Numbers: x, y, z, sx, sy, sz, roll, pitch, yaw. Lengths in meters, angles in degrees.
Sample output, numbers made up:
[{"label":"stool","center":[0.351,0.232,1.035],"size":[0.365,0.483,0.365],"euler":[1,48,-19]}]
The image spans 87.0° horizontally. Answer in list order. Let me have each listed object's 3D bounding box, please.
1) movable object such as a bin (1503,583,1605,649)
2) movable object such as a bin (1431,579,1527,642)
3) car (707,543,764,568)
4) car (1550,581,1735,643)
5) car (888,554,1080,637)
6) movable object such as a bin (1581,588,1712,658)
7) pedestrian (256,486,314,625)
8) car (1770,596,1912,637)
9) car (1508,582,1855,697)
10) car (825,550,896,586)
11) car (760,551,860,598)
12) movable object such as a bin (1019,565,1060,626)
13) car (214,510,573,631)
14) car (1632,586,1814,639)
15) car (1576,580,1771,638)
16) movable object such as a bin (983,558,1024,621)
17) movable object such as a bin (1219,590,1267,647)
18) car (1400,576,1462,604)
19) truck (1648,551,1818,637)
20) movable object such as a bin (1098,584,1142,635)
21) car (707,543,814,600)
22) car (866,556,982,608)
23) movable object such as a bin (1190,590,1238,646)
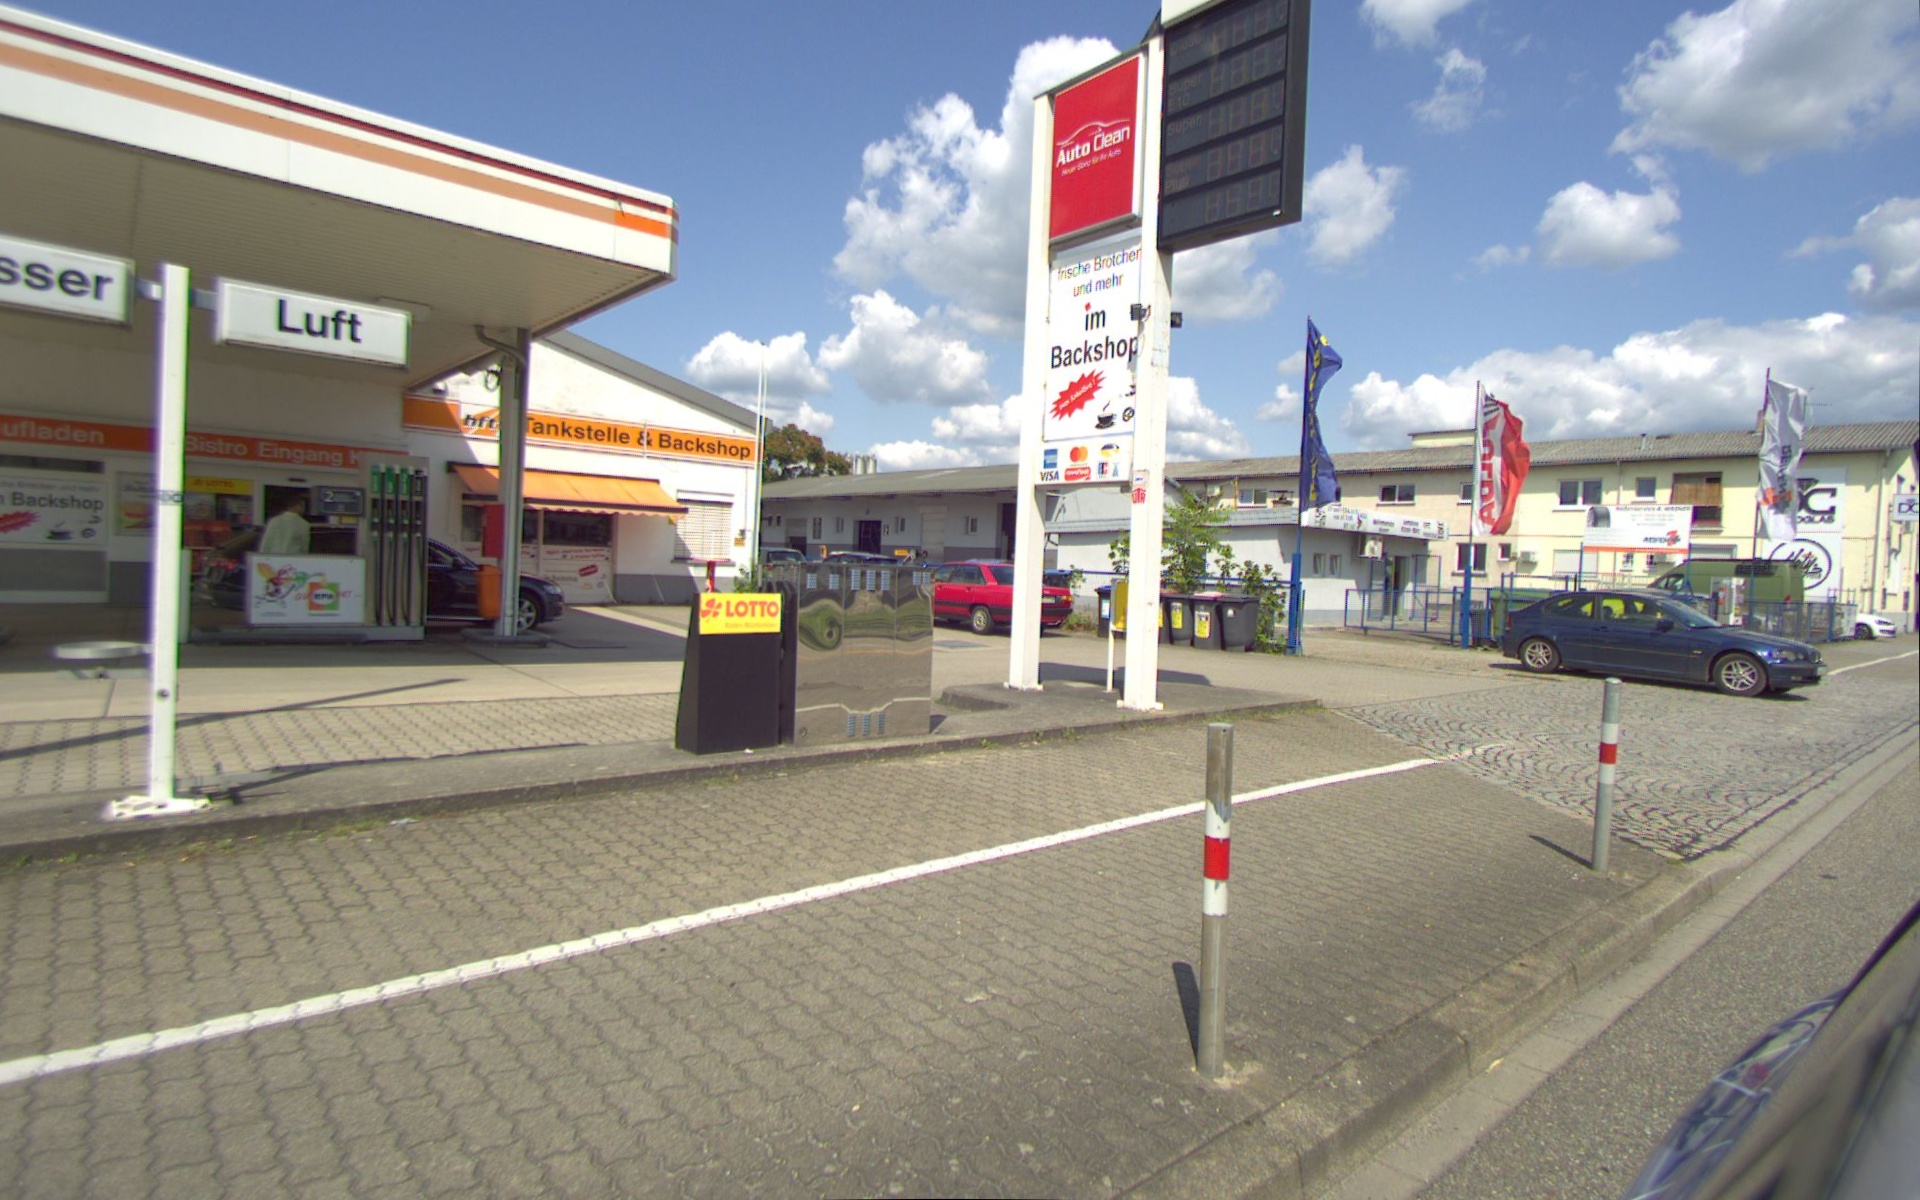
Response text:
[{"label":"movable object such as a bin","center":[13.502,0.330,23.007],"size":[1.735,1.427,1.534],"euler":[0,1,-42]},{"label":"movable object such as a bin","center":[12.402,0.214,24.186],"size":[1.735,1.427,1.534],"euler":[0,1,-42]},{"label":"car","center":[-13.819,-2.746,62.374],"size":[3.094,1.393,1.379],"euler":[1,1,-43]},{"label":"car","center":[18.467,0.271,27.577],"size":[1.592,1.480,3.918],"euler":[0,2,-24]},{"label":"car","center":[0.396,-0.165,21.244],"size":[1.740,1.441,4.146],"euler":[0,4,-39]},{"label":"movable object such as a bin","center":[14.646,0.448,21.617],"size":[1.679,1.364,1.966],"euler":[0,1,-41]},{"label":"pedestrian","center":[-8.784,-0.565,13.168],"size":[0.607,1.744,0.687],"euler":[0,1,-35]},{"label":"car","center":[32.417,0.567,37.302],"size":[1.490,1.374,3.728],"euler":[0,1,-37]},{"label":"car","center":[11.015,0.494,15.754],"size":[1.616,1.425,4.068],"euler":[0,3,-34]},{"label":"car","center":[-5.277,-1.706,53.966],"size":[3.537,1.763,1.538],"euler":[1,1,-43]},{"label":"car","center":[-4.899,-0.847,32.694],"size":[1.525,1.330,3.646],"euler":[0,4,-39]},{"label":"movable object such as a bin","center":[1.757,-0.097,22.247],"size":[0.694,1.313,0.581],"euler":[0,1,-42]},{"label":"car","center":[-8.359,-0.386,15.190],"size":[4.413,1.538,1.686],"euler":[2,2,-41]},{"label":"car","center":[24.059,0.334,32.059],"size":[1.792,1.526,4.266],"euler":[0,1,-33]},{"label":"car","center":[20.383,0.202,29.120],"size":[1.789,1.524,4.271],"euler":[0,1,-24]},{"label":"movable object such as a bin","center":[0.995,-0.238,23.387],"size":[0.695,1.408,0.581],"euler":[1,2,-43]},{"label":"movable object such as a bin","center":[5.221,0.334,18.666],"size":[0.694,1.023,0.581],"euler":[0,1,-42]},{"label":"car","center":[22.414,-0.492,48.105],"size":[3.219,1.277,1.452],"euler":[-1,1,-40]},{"label":"truck","center":[25.919,-0.240,34.045],"size":[2.071,2.693,4.180],"euler":[0,1,-39]},{"label":"movable object such as a bin","center":[3.308,0.189,20.913],"size":[0.694,1.023,0.581],"euler":[0,1,-42]},{"label":"car","center":[-5.784,-0.847,29.043],"size":[1.501,1.441,3.593],"euler":[0,4,-39]},{"label":"car","center":[-1.034,-0.524,27.795],"size":[1.461,1.240,3.311],"euler":[0,4,-39]},{"label":"movable object such as a bin","center":[4.803,0.322,19.125],"size":[0.694,1.023,0.581],"euler":[0,1,-42]}]
